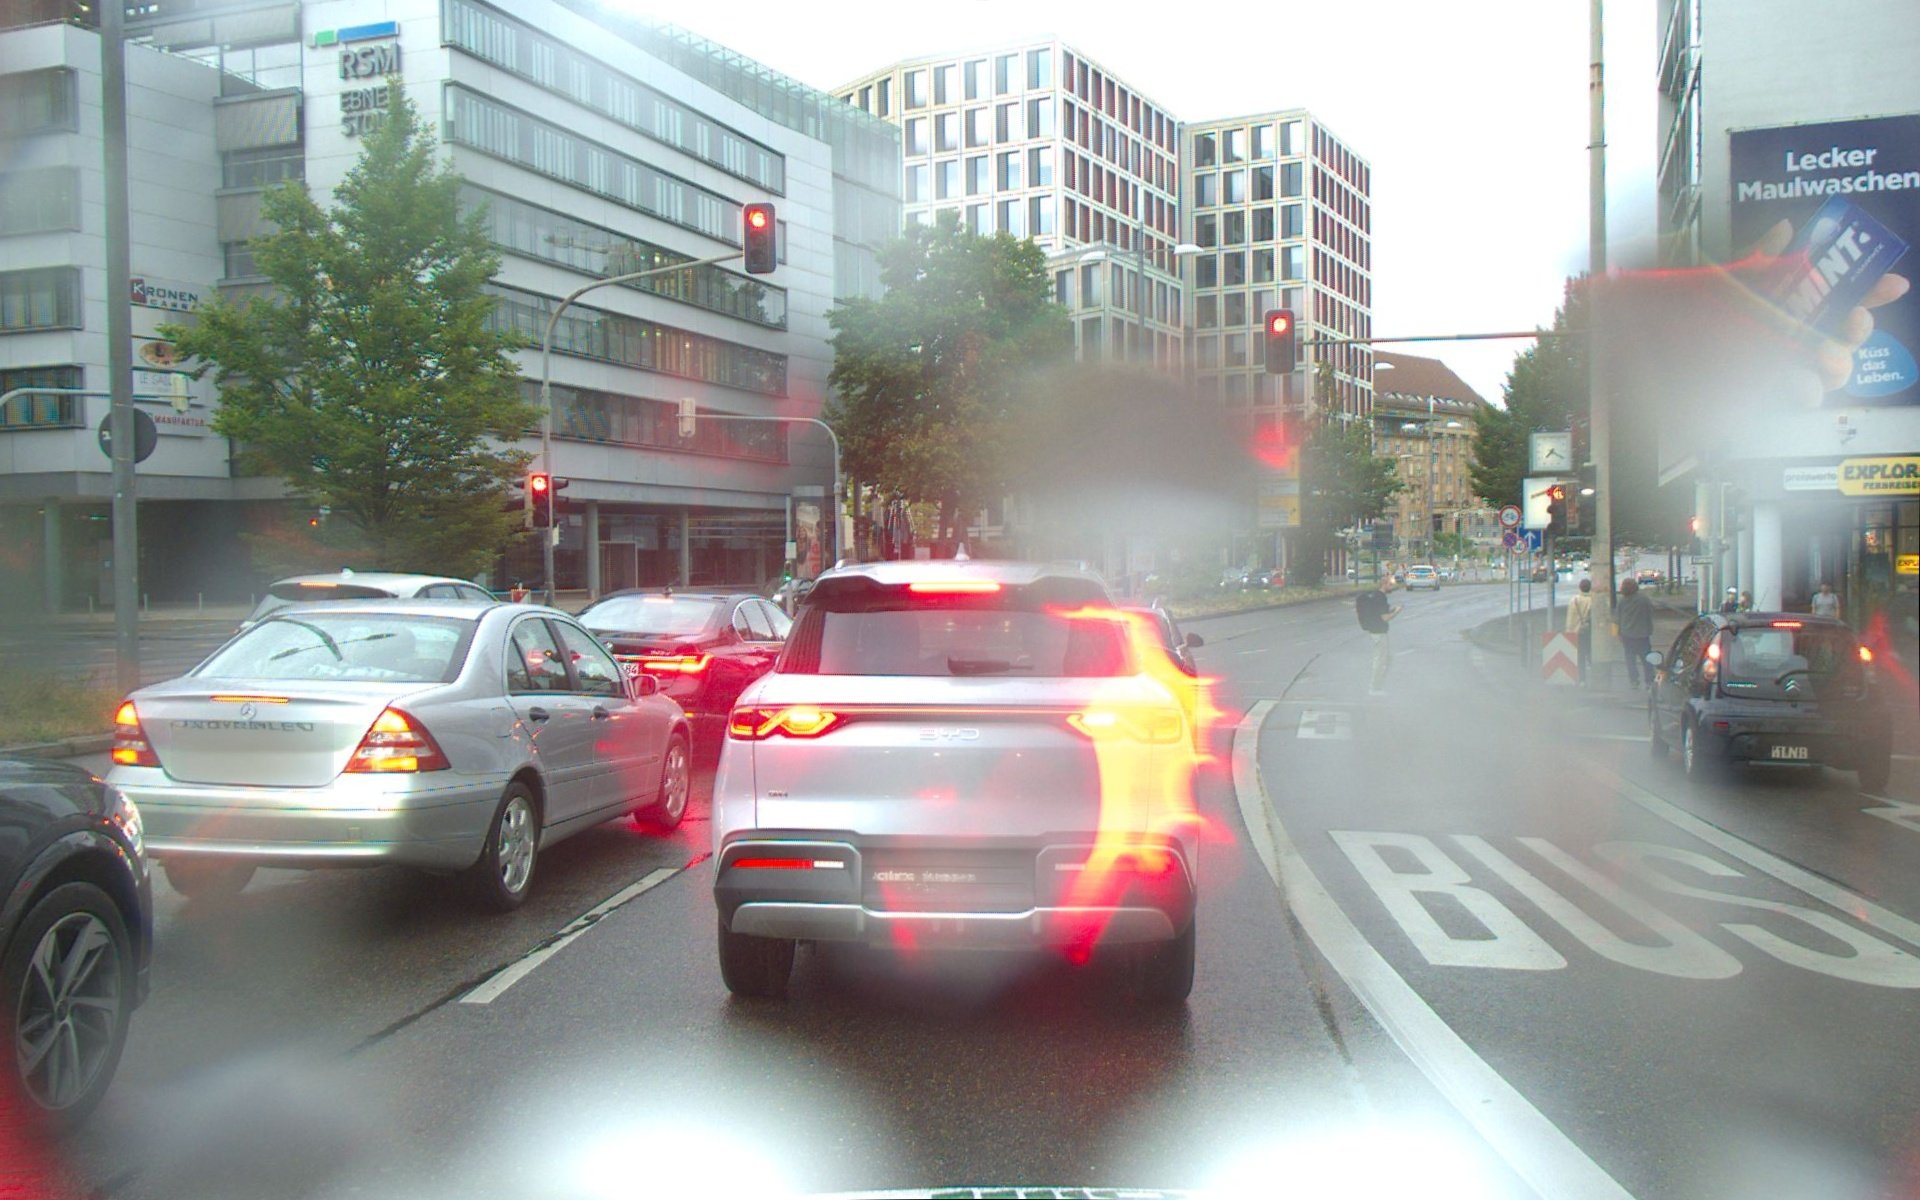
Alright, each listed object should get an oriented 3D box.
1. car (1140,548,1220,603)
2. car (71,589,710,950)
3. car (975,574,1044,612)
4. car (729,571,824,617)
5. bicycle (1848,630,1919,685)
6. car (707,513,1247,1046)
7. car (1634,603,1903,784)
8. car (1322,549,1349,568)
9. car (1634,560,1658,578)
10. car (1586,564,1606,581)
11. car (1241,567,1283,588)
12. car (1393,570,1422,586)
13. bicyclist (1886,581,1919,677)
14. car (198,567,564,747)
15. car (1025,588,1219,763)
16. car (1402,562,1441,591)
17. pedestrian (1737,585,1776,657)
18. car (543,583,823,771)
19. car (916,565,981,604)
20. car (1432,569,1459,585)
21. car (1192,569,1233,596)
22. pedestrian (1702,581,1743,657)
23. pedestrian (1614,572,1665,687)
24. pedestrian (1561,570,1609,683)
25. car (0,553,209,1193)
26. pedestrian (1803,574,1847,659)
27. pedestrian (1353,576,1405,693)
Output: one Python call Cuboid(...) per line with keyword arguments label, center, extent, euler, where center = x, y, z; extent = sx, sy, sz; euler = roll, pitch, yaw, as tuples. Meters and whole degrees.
Cuboid(label="car", center=(8.736, -0.940, 65.261), extent=(1.953, 2.049, 4.848), euler=(1, 0, 22))
Cuboid(label="car", center=(-2.650, 0.694, 8.794), extent=(1.537, 1.432, 4.112), euler=(1, 0, 7))
Cuboid(label="car", center=(2.001, -0.253, 65.421), extent=(1.655, 1.409, 3.870), euler=(1, 0, 18))
Cuboid(label="car", center=(-6.772, -0.236, 61.550), extent=(1.952, 1.639, 4.001), euler=(1, 1, 20))
Cuboid(label="bicycle", center=(16.119, 0.968, 27.883), extent=(1.982, 0.904, 0.403), euler=(0, 0, 17))
Cuboid(label="car", center=(0.099, 0.591, 7.392), extent=(1.739, 1.708, 4.000), euler=(1, 0, 1))
Cuboid(label="car", center=(7.482, 0.781, 15.652), extent=(1.537, 1.454, 4.003), euler=(1, 0, 15))
Cuboid(label="car", center=(37.259, -4.076, 164.185), extent=(1.577, 1.771, 3.437), euler=(1, 0, 31))
Cuboid(label="car", center=(62.771, -2.818, 151.308), extent=(1.662, 1.512, 3.993), euler=(1, 0, 29))
Cuboid(label="car", center=(78.506, -3.350, 204.246), extent=(1.954, 2.049, 3.996), euler=(1, 0, 26))
Cuboid(label="car", center=(21.830, -1.627, 119.545), extent=(1.955, 1.514, 3.996), euler=(0, 1, 27))
Cuboid(label="car", center=(43.858, -2.199, 162.025), extent=(1.955, 1.514, 3.996), euler=(0, 1, 27))
Cuboid(label="bicyclist", center=(16.105, 0.485, 27.889), extent=(0.751, 1.596, 0.533), euler=(0, 0, 18))
Cuboid(label="car", center=(-5.460, 0.492, 16.184), extent=(1.670, 1.512, 4.003), euler=(1, 0, 9))
Cuboid(label="car", center=(1.738, 0.676, 16.653), extent=(1.657, 1.512, 4.003), euler=(1, 0, 10))
Cuboid(label="car", center=(27.304, -1.374, 97.793), extent=(1.849, 1.671, 4.000), euler=(1, 1, 22))
Cuboid(label="pedestrian", center=(17.663, 0.464, 36.660), extent=(0.615, 1.570, 0.649), euler=(1, 0, 43))
Cuboid(label="car", center=(-2.436, 0.636, 15.509), extent=(1.537, 1.512, 4.003), euler=(1, 0, 6))
Cuboid(label="car", center=(-0.435, -0.640, 68.441), extent=(1.609, 1.563, 4.155), euler=(1, 0, 15))
Cuboid(label="car", center=(49.045, -2.341, 167.196), extent=(1.955, 1.514, 3.996), euler=(0, 1, 27))
Cuboid(label="car", center=(15.370, -1.033, 100.491), extent=(1.610, 1.608, 4.086), euler=(1, 0, 21))
Cuboid(label="pedestrian", center=(17.153, 0.410, 37.199), extent=(0.659, 1.684, 0.649), euler=(1, 0, 43))
Cuboid(label="pedestrian", center=(11.037, 0.466, 26.881), extent=(0.733, 1.829, 0.817), euler=(0, 1, 20))
Cuboid(label="pedestrian", center=(10.344, 0.427, 27.394), extent=(0.733, 1.829, 0.817), euler=(0, 1, 20))
Cuboid(label="car", center=(-3.113, 0.660, 2.935), extent=(1.614, 1.548, 4.271), euler=(1, 1, 0))
Cuboid(label="pedestrian", center=(18.777, 0.346, 35.894), extent=(0.659, 1.825, 0.768), euler=(1, 0, 43))
Cuboid(label="pedestrian", center=(6.446, 0.522, 25.462), extent=(0.753, 1.762, 0.597), euler=(0, 0, 13))
